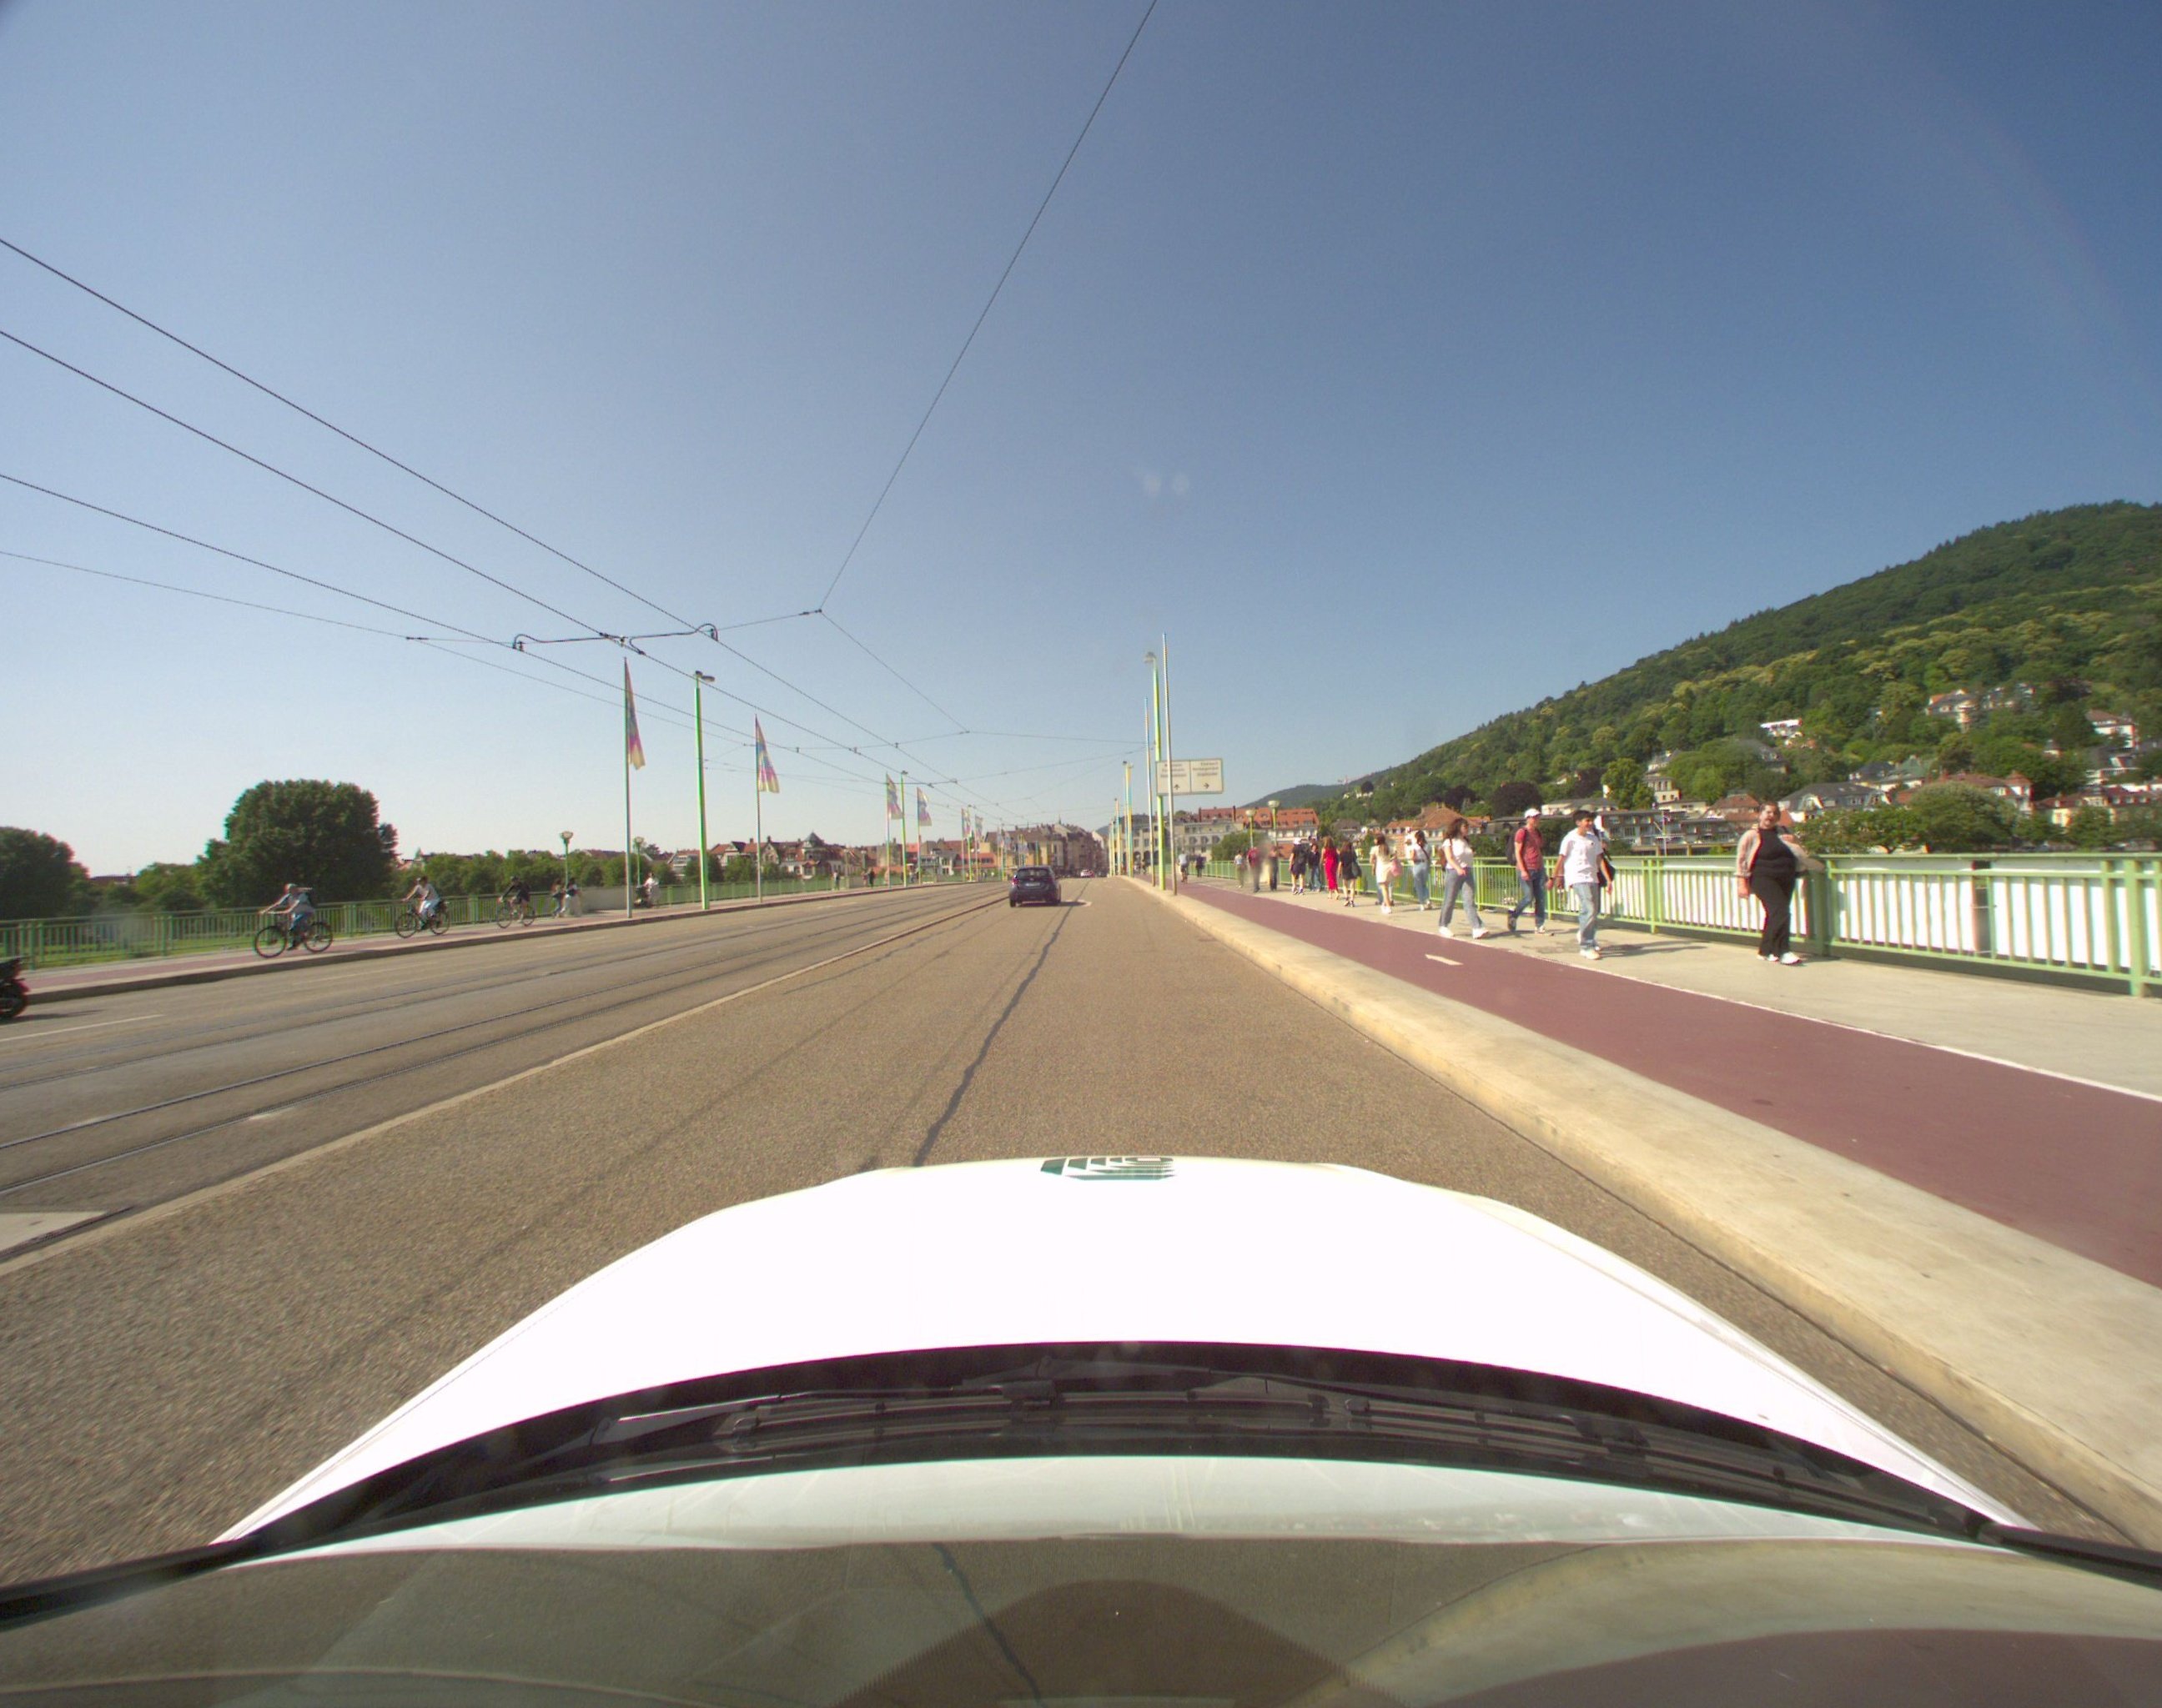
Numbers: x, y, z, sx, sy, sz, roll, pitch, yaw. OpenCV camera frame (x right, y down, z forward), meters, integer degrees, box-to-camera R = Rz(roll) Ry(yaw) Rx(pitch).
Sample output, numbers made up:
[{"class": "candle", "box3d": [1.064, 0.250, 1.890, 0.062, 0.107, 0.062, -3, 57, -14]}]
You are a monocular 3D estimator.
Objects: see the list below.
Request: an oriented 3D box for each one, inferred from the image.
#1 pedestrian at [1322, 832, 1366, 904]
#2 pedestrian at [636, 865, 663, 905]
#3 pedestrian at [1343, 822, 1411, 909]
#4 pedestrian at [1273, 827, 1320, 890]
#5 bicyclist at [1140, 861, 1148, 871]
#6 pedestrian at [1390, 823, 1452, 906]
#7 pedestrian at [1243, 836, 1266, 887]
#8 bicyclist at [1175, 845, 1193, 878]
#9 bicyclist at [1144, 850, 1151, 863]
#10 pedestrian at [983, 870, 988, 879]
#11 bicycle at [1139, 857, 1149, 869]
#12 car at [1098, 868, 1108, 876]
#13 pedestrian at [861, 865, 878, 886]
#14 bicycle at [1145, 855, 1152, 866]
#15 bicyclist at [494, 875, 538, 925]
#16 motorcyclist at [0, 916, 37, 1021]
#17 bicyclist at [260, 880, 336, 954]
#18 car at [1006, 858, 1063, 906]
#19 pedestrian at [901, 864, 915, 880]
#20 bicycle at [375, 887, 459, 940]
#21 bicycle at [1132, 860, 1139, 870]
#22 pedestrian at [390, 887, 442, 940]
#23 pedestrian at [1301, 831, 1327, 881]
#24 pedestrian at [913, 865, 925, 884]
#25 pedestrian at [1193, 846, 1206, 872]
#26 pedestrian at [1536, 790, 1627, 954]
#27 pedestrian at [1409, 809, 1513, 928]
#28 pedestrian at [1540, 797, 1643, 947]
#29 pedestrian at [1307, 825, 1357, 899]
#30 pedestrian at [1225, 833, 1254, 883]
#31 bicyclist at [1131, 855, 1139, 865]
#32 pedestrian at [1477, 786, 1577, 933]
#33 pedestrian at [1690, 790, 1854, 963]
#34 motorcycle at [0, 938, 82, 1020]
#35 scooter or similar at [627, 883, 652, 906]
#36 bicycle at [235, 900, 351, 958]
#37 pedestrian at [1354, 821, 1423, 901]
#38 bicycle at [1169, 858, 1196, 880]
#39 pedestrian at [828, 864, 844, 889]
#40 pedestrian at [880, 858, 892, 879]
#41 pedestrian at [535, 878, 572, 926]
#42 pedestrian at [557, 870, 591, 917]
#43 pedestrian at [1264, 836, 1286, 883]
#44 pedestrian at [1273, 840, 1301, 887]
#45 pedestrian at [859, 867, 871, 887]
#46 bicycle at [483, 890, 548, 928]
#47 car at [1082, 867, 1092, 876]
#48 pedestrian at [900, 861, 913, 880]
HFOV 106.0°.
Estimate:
[{"class": "pedestrian", "box3d": [6.249, 0.332, 19.400, 0.653, 1.650, 0.867, -3, -1, -5]}, {"class": "pedestrian", "box3d": [-20.666, 1.478, 39.024, 0.736, 1.853, 0.974, 1, 0, -2]}, {"class": "pedestrian", "box3d": [6.240, 0.241, 17.225, 0.983, 1.750, 0.928, -3, -1, -5]}, {"class": "pedestrian", "box3d": [6.803, 0.147, 25.773, 0.983, 1.895, 1.252, -3, -1, -5]}, {"class": "bicyclist", "box3d": [6.597, 1.253, 85.049, 0.665, 1.045, 0.979, -4, -1, -3]}, {"class": "pedestrian", "box3d": [7.184, 0.214, 17.231, 0.832, 1.677, 0.884, -3, -1, -5]}, {"class": "pedestrian", "box3d": [6.246, 0.261, 29.319, 0.584, 1.793, 0.631, -3, -1, -4]}, {"class": "bicyclist", "box3d": [5.558, 0.400, 44.014, 0.672, 1.744, 1.149, -3, 0, -3]}, {"class": "bicyclist", "box3d": [8.420, 0.347, 102.732, 0.733, 1.635, 0.866, -3, -1, -1]}, {"class": "pedestrian", "box3d": [-18.074, 3.824, 154.252, 0.828, 1.722, 1.093, -2, 0, -1]}, {"class": "bicycle", "box3d": [6.573, 0.903, 85.017, 0.693, 1.193, 2.076, -3, -1, -3]}, {"class": "car", "box3d": [4.363, 3.671, 164.050, 1.796, 1.469, 4.003, -4, -1, 3]}, {"class": "pedestrian", "box3d": [-18.913, 1.902, 72.930, 1.094, 1.758, 1.294, -3, 0, -2]}, {"class": "bicycle", "box3d": [8.456, 0.816, 102.611, 0.616, 1.271, 2.215, -3, -1, -1]}, {"class": "bicyclist", "box3d": [-18.958, 1.543, 27.362, 0.874, 1.609, 0.772, -3, -1, 0]}, {"class": "motorcyclist", "box3d": [-15.116, 1.577, 10.997, 0.842, 1.402, 0.897, -1, 0, -2]}, {"class": "bicyclist", "box3d": [-18.289, 1.462, 19.039, 0.873, 1.608, 0.772, -4, 1, 3]}, {"class": "car", "box3d": [-1.682, 0.993, 30.693, 1.905, 1.540, 3.998, -3, 0, -1]}, {"class": "pedestrian", "box3d": [-19.238, 2.014, 90.691, 1.092, 1.729, 1.296, -3, -1, 4]}, {"class": "bicycle", "box3d": [-19.425, 1.713, 23.883, 0.703, 1.400, 2.162, 1, 0, -1]}, {"class": "bicycle", "box3d": [6.188, 1.246, 92.740, 0.616, 1.037, 2.050, -3, -1, -1]}, {"class": "pedestrian", "box3d": [-19.439, 1.721, 23.830, 0.740, 1.455, 0.899, -3, -1, 0]}, {"class": "pedestrian", "box3d": [7.789, 0.064, 27.264, 0.647, 1.631, 0.692, -2, 0, 2]}, {"class": "pedestrian", "box3d": [-18.081, 2.309, 90.886, 1.094, 2.013, 1.294, -2, 0, -2]}, {"class": "pedestrian", "box3d": [8.144, 0.363, 56.053, 0.653, 1.743, 0.977, -3, 1, -5]}, {"class": "pedestrian", "box3d": [5.756, 0.200, 9.389, 0.548, 1.799, 0.645, -3, -1, -5]}, {"class": "pedestrian", "box3d": [5.480, 0.198, 11.805, 0.983, 1.615, 0.920, -3, -1, -5]}, {"class": "pedestrian", "box3d": [6.160, 0.214, 9.865, 0.694, 1.716, 0.730, -3, -1, -5]}, {"class": "pedestrian", "box3d": [6.976, 0.221, 22.709, 1.012, 1.954, 0.938, -3, -1, -1]}, {"class": "pedestrian", "box3d": [6.648, 0.183, 34.203, 0.872, 2.014, 1.057, -3, -1, -5]}, {"class": "bicyclist", "box3d": [6.125, 0.674, 92.659, 0.733, 1.030, 1.175, -3, -1, -1]}, {"class": "pedestrian", "box3d": [6.463, 0.078, 11.845, 0.802, 2.014, 0.953, -3, -1, -5]}, {"class": "pedestrian", "box3d": [7.050, 0.217, 8.369, 0.797, 1.635, 0.949, -3, 0, -2]}, {"class": "motorcycle", "box3d": [-15.107, 1.754, 10.978, 0.842, 1.025, 1.951, -2, 0, 0]}, {"class": "scooter or similar", "box3d": [-20.657, 1.870, 38.107, 0.736, 1.029, 0.832, 1, 0, -2]}, {"class": "bicycle", "box3d": [-18.279, 1.704, 18.963, 0.755, 1.113, 1.922, -1, 2, 3]}, {"class": "pedestrian", "box3d": [7.227, 0.153, 19.178, 0.983, 1.769, 1.252, -4, 0, -5]}, {"class": "bicycle", "box3d": [5.489, 0.802, 44.307, 0.790, 1.096, 3.740, -3, 0, -3]}, {"class": "pedestrian", "box3d": [-20.349, 1.889, 67.630, 0.896, 2.013, 1.041, -2, 0, -2]}, {"class": "pedestrian", "box3d": [-19.100, 1.391, 79.761, 0.967, 2.013, 1.100, -2, 0, -5]}, {"class": "pedestrian", "box3d": [-20.932, 1.886, 32.357, 0.736, 1.849, 1.120, 1, 0, -2]}, {"class": "pedestrian", "box3d": [-20.175, 1.557, 32.437, 0.736, 1.784, 0.957, 1, 0, -2]}, {"class": "pedestrian", "box3d": [6.968, 0.215, 29.278, 0.522, 1.649, 0.698, -3, -1, -5]}, {"class": "pedestrian", "box3d": [7.035, 0.328, 27.858, 0.648, 1.562, 0.691, -4, 0, -4]}, {"class": "pedestrian", "box3d": [-19.790, 2.096, 74.523, 0.752, 1.722, 1.175, -2, -1, -2]}, {"class": "bicycle", "box3d": [-18.938, 1.818, 27.334, 0.756, 1.114, 1.920, -3, -1, 1]}, {"class": "car", "box3d": [1.127, 3.308, 153.423, 1.799, 1.469, 3.997, -4, -1, -2]}, {"class": "pedestrian", "box3d": [-19.641, 1.878, 91.621, 1.094, 2.013, 1.128, -2, 0, -2]}]
